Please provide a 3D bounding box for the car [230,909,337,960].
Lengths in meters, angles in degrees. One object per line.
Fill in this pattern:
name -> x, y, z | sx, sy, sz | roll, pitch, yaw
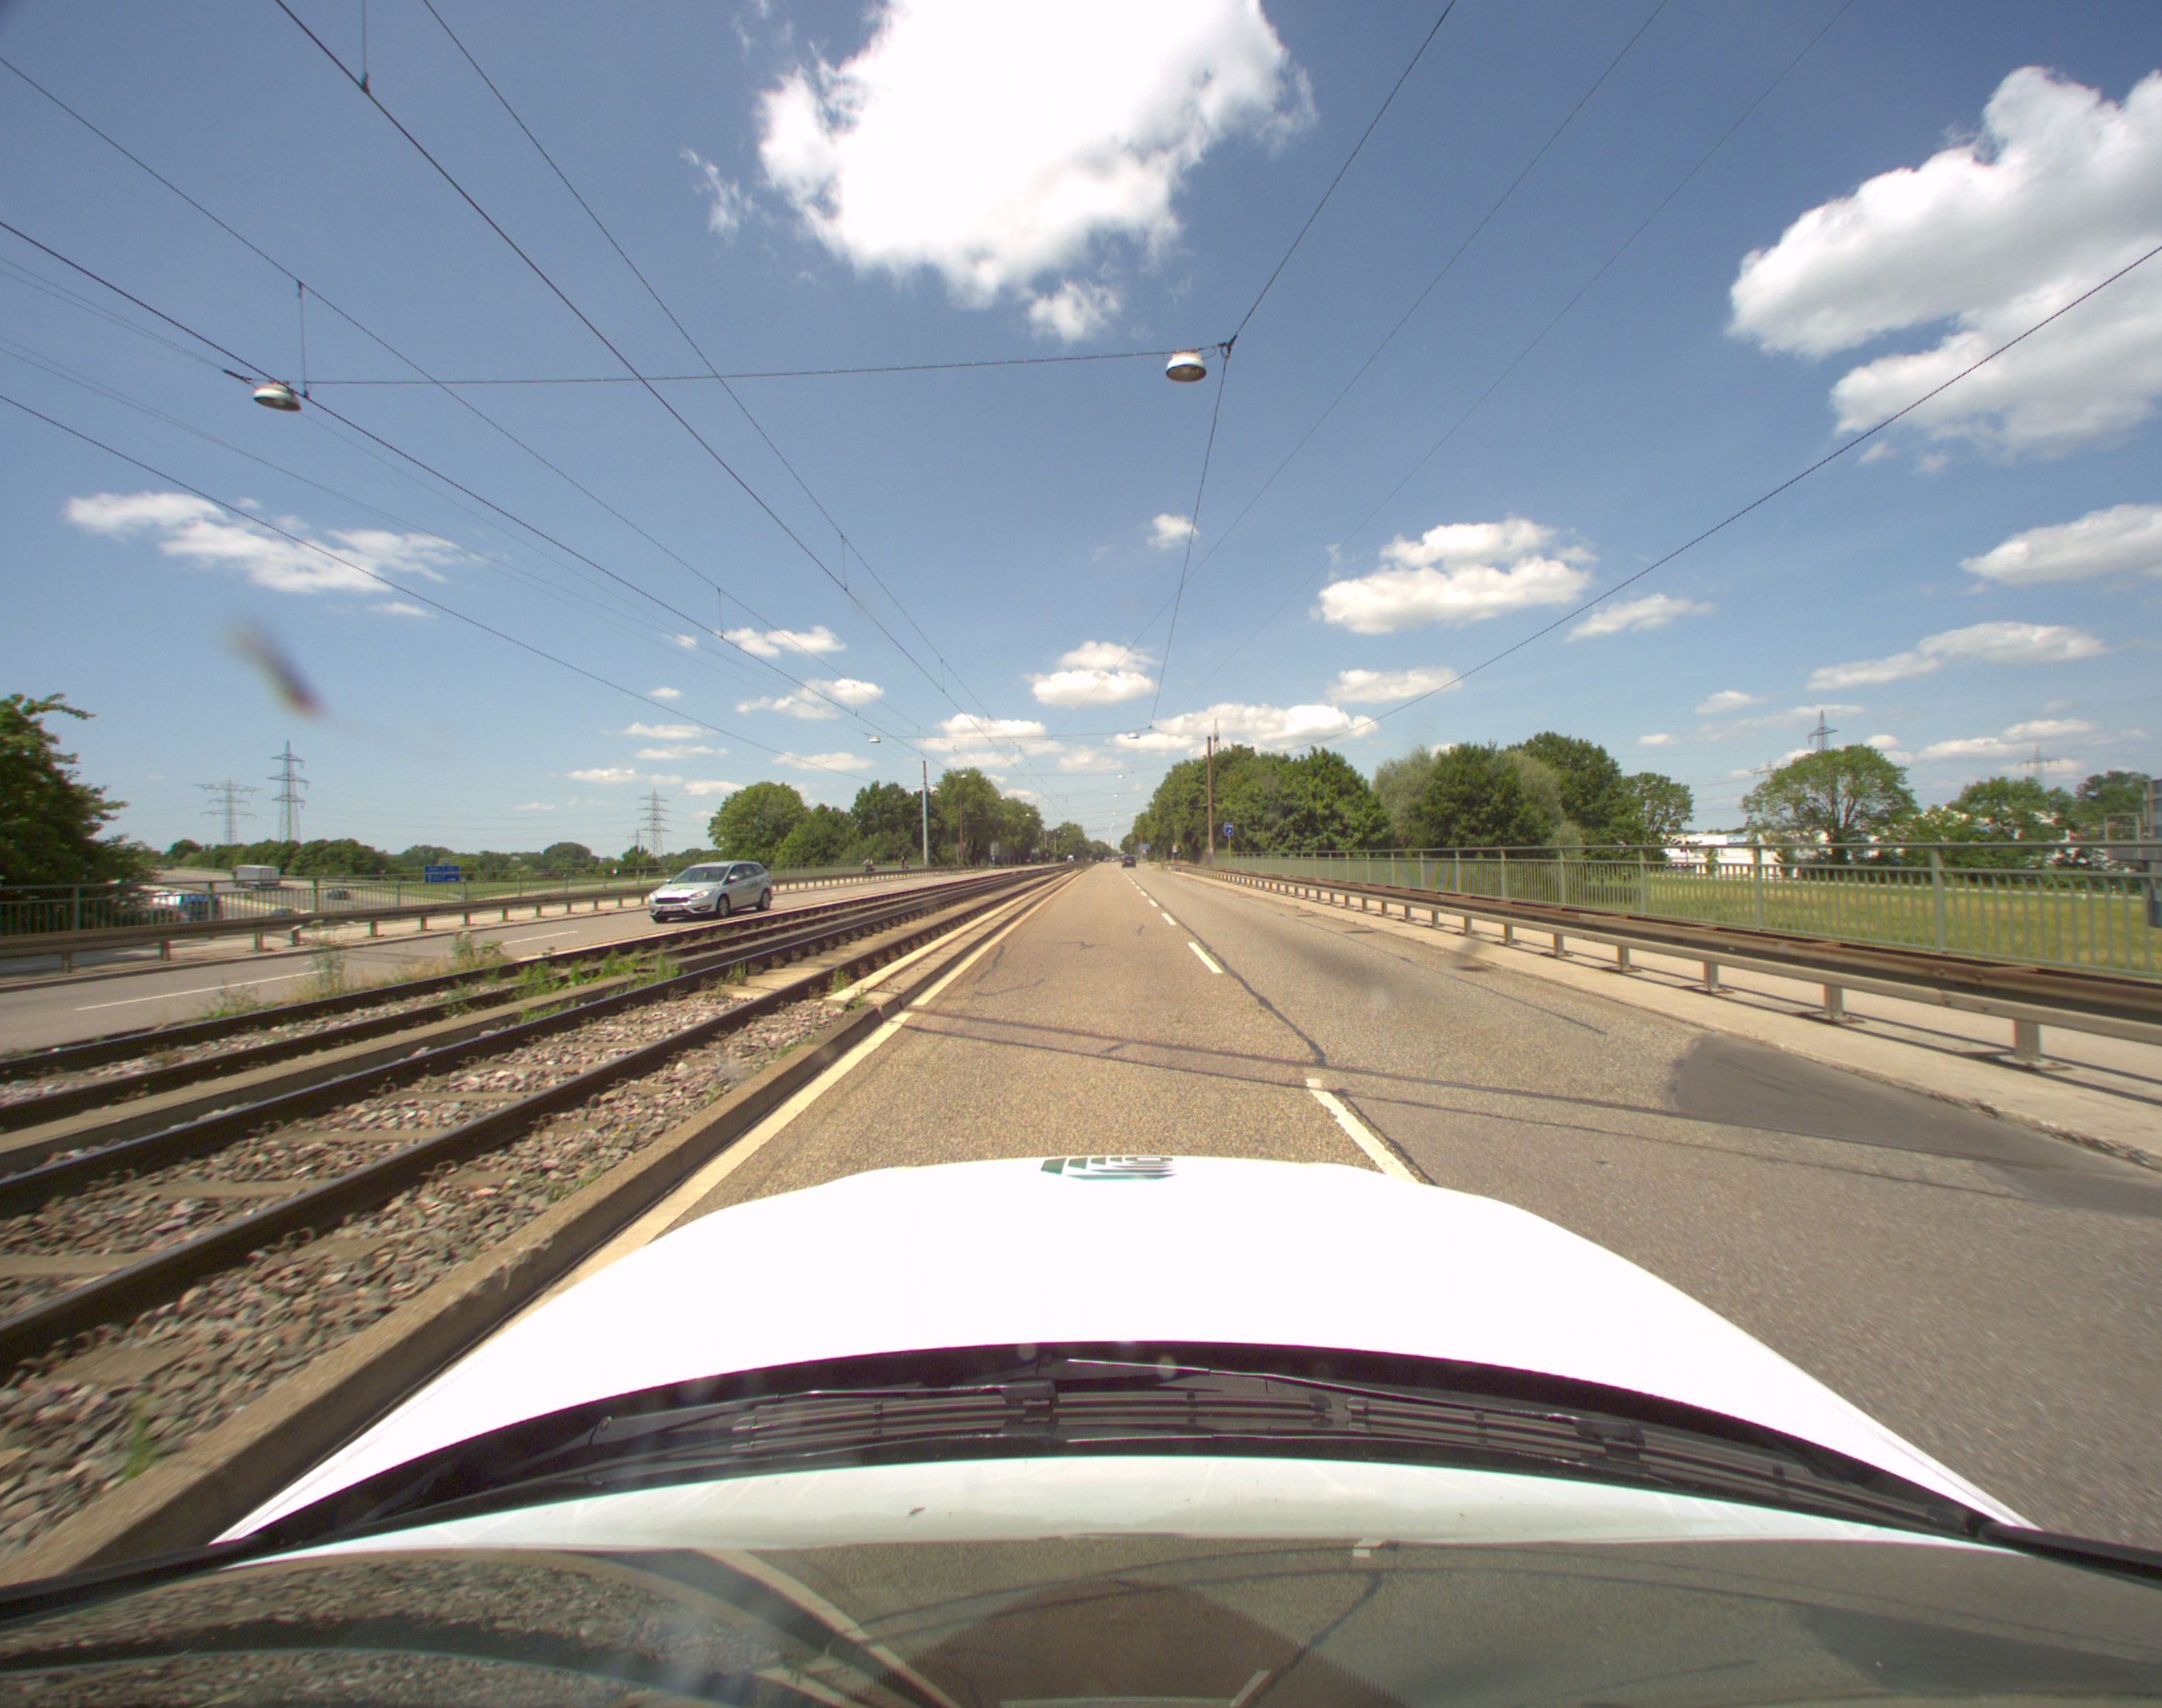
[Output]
car -> -93.649, 9.163, 95.301 | 22.166, 4.487, 5.052 | 0, 0, 35

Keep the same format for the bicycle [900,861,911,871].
bicycle -> -15.703, 1.098, 72.869 | 0.521, 0.843, 2.035 | 0, 0, 0

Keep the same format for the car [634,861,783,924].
car -> -9.866, 0.953, 22.006 | 1.704, 1.420, 4.626 | -2, 0, 2

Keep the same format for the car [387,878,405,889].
car -> -120.234, 5.099, 142.859 | 3.950, 1.642, 1.751 | 4, 1, 41

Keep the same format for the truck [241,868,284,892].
truck -> -146.214, 4.542, 145.523 | 8.096, 3.705, 3.687 | 3, 1, 32

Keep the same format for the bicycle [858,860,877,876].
bicycle -> -16.237, 1.056, 62.025 | 0.854, 1.185, 2.062 | 0, 0, 1

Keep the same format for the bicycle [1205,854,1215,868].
bicycle -> 10.022, 0.560, 63.376 | 0.557, 1.024, 1.849 | -2, -1, 2

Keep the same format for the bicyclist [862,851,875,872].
bicyclist -> -16.221, 0.567, 62.127 | 0.760, 1.622, 0.838 | 0, 0, 1

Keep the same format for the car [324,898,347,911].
car -> -114.248, 7.715, 124.799 | 3.949, 1.642, 1.947 | 4, 1, 37

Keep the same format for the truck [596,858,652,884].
truck -> -103.457, 3.910, 184.402 | 10.847, 5.636, 3.263 | 2, 1, -31

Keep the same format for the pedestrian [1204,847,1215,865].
pedestrian -> 10.010, 0.147, 63.418 | 0.625, 1.374, 1.051 | -2, -1, 2

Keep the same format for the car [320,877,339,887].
car -> -145.311, 5.426, 157.458 | 3.949, 1.642, 1.751 | 4, 1, 32

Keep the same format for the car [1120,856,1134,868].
car -> 5.883, 1.009, 104.924 | 1.580, 1.343, 3.272 | -2, 0, 0

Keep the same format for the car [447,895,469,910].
car -> -97.391, 7.574, 127.325 | 3.950, 2.013, 1.881 | 3, -1, 42
